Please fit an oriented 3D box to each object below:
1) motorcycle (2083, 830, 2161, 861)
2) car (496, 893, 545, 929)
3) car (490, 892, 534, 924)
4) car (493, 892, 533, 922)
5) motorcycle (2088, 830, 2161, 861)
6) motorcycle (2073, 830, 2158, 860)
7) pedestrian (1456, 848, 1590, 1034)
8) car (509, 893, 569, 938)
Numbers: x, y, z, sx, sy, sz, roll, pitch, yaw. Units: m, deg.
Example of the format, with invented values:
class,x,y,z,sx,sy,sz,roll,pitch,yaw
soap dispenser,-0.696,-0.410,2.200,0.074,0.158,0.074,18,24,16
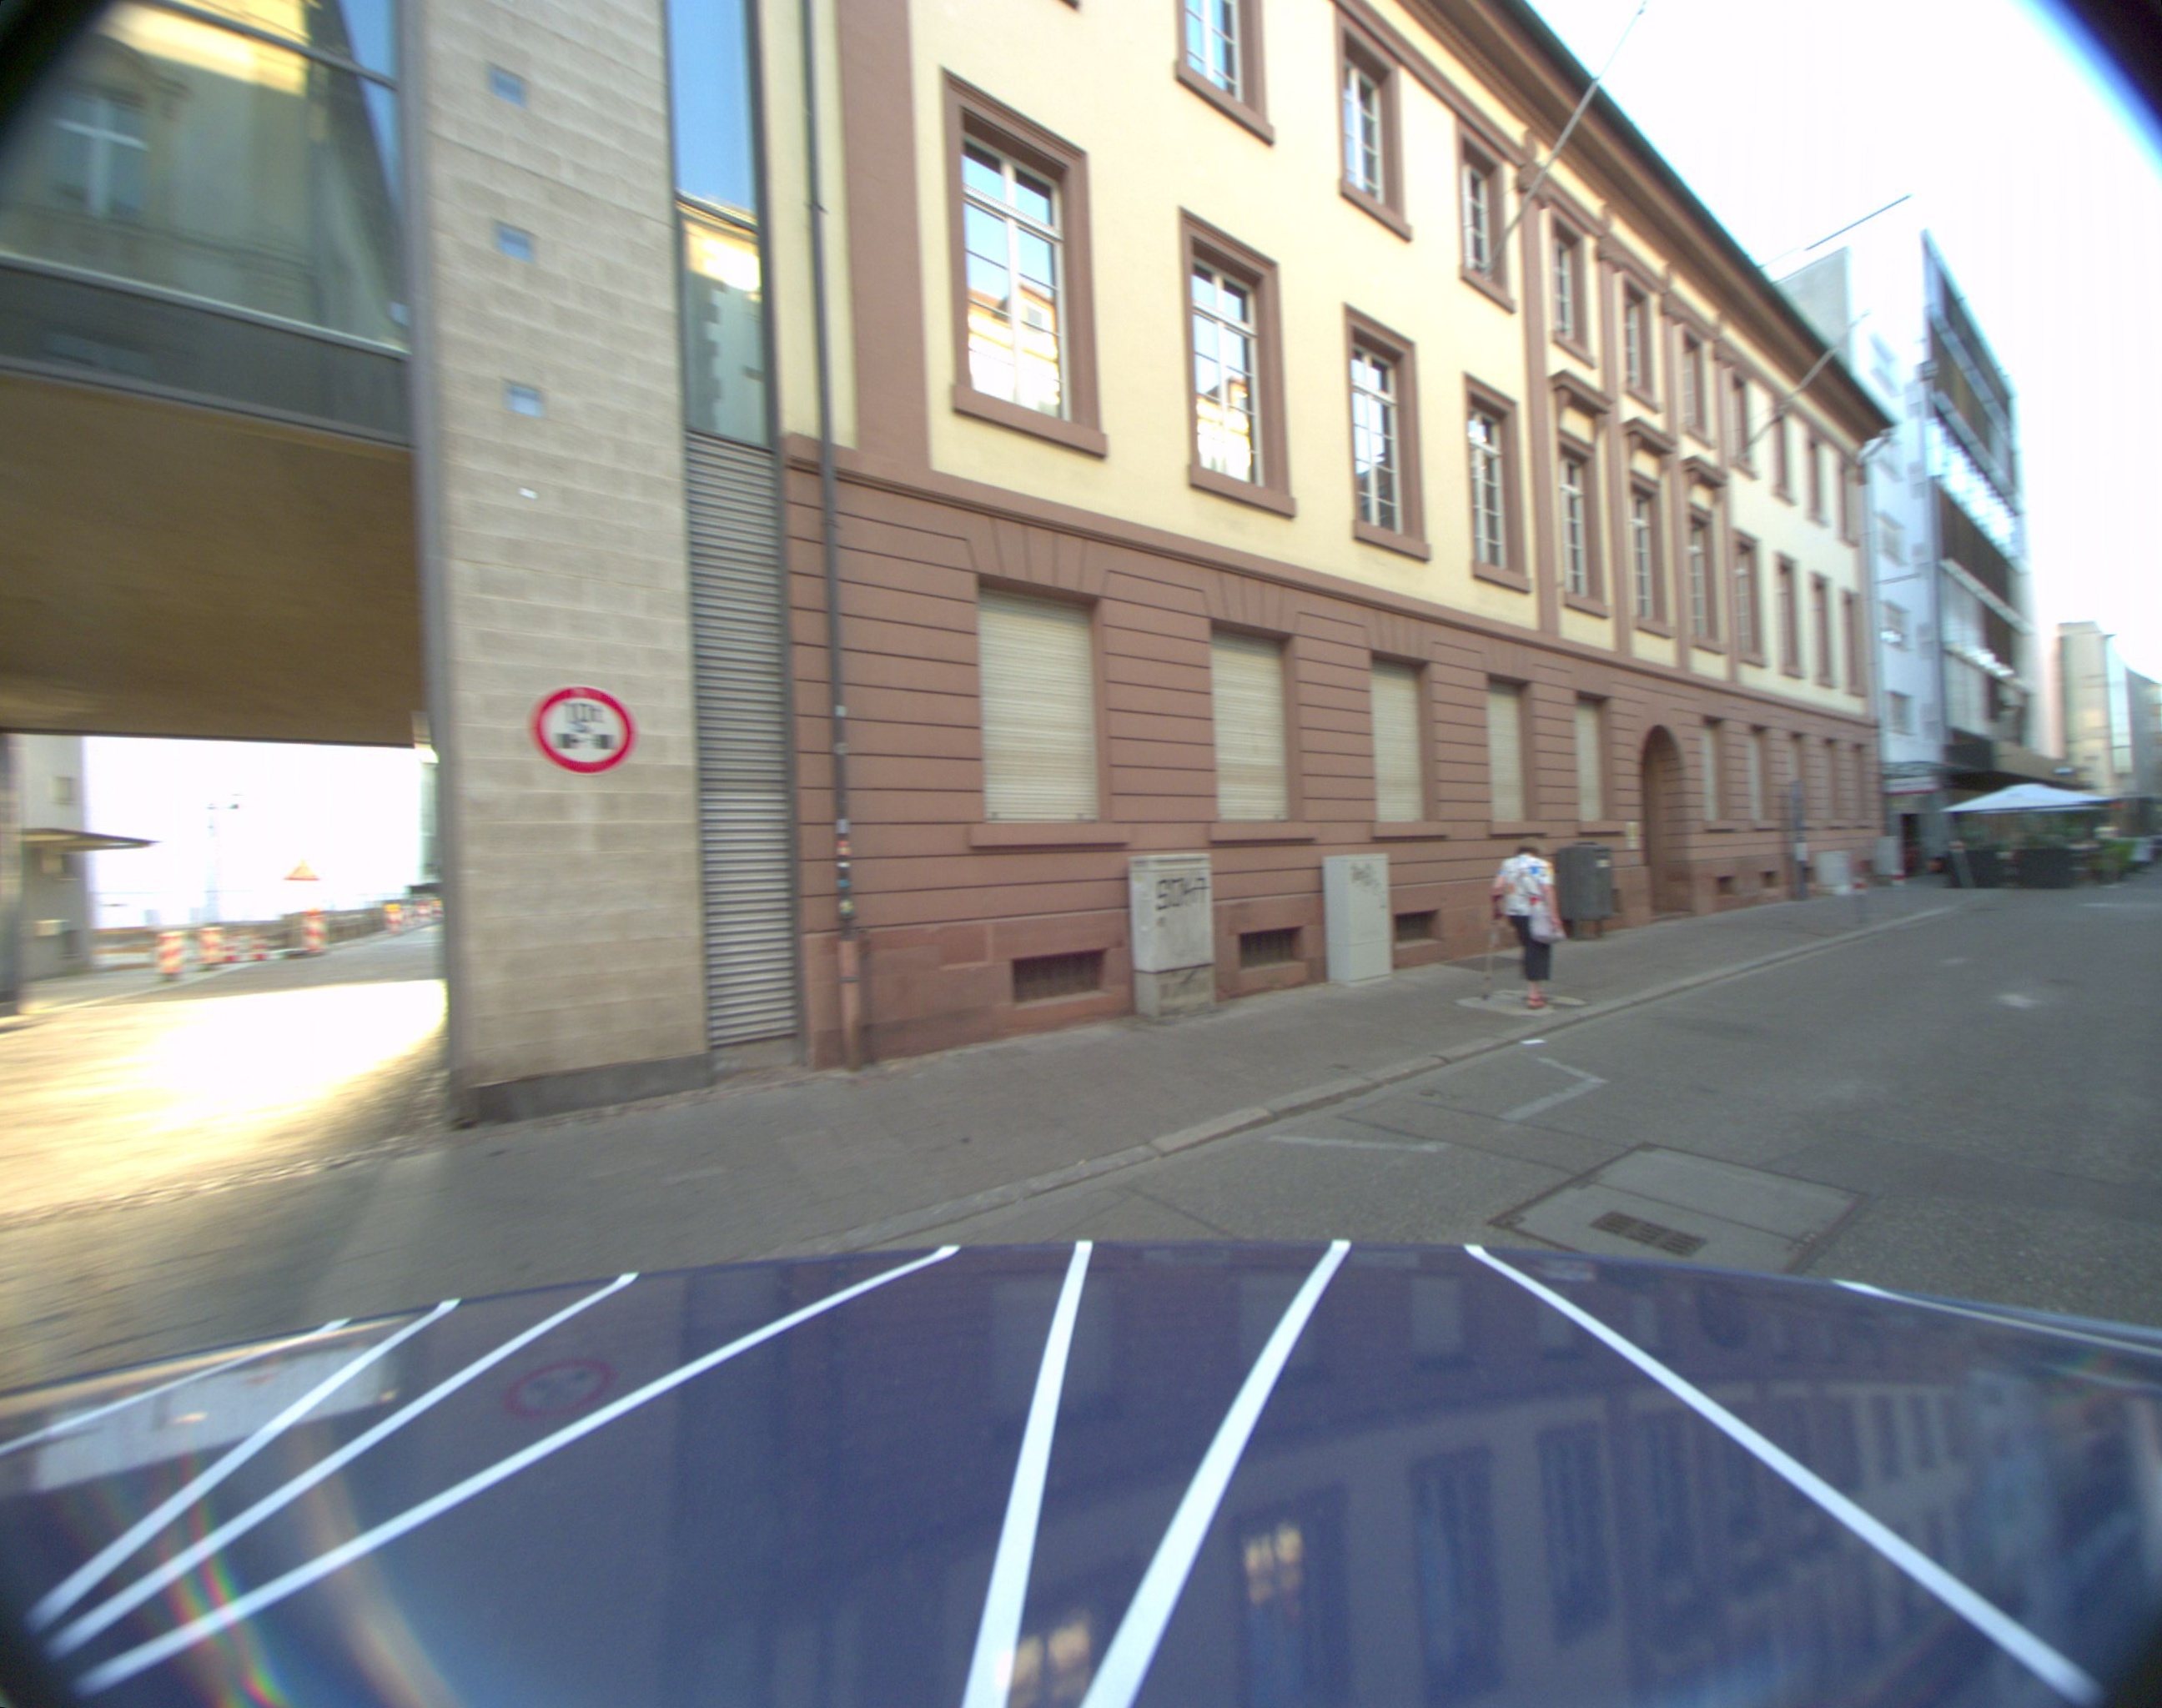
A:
class,x,y,z,sx,sy,sz,roll,pitch,yaw
motorcycle,45.049,-0.375,32.743,0.652,1.275,2.189,-2,2,-31
car,-27.221,2.728,36.865,1.605,1.484,3.435,-2,1,-41
car,-30.995,2.914,41.374,1.605,1.484,3.435,-2,1,-41
car,-33.677,3.117,44.993,1.605,1.484,3.435,-2,1,-41
motorcycle,44.350,-0.347,32.040,0.652,1.275,2.189,-2,2,-31
motorcycle,46.272,-0.413,34.025,0.652,1.275,2.189,-2,2,-31
pedestrian,4.324,0.780,7.434,0.932,1.661,0.810,-2,2,-35
car,-22.012,2.445,30.839,1.605,1.484,3.435,-2,1,-41
